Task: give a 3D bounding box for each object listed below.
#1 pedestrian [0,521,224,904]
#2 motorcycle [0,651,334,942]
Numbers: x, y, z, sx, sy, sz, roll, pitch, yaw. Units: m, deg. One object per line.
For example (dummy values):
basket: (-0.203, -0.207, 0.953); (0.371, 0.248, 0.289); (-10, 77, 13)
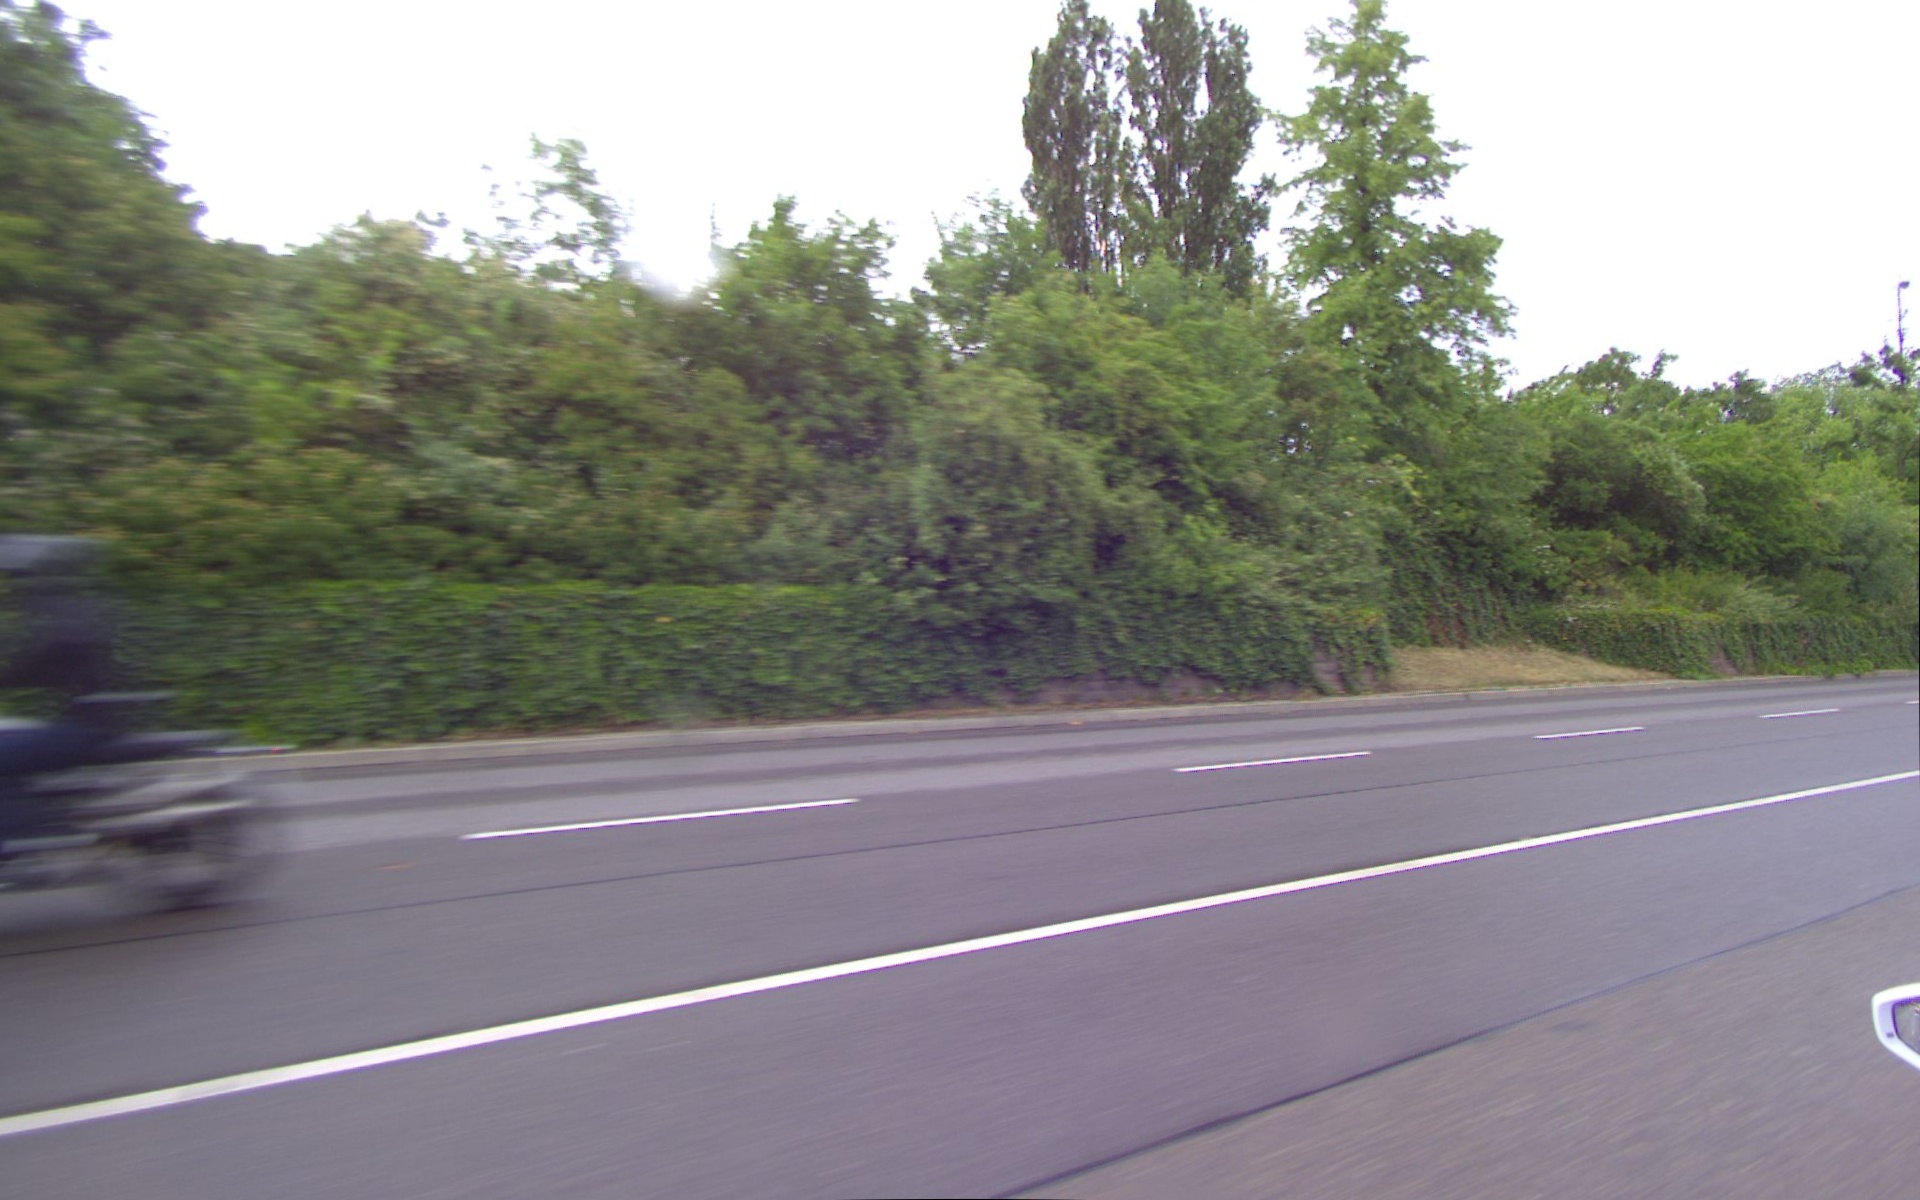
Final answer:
pedestrian: (-4.037, 0.460, 4.482); (1.098, 1.562, 0.801); (1, 0, -30)
motorcycle: (-4.102, 0.822, 4.446); (2.205, 1.146, 0.801); (1, 0, -30)
